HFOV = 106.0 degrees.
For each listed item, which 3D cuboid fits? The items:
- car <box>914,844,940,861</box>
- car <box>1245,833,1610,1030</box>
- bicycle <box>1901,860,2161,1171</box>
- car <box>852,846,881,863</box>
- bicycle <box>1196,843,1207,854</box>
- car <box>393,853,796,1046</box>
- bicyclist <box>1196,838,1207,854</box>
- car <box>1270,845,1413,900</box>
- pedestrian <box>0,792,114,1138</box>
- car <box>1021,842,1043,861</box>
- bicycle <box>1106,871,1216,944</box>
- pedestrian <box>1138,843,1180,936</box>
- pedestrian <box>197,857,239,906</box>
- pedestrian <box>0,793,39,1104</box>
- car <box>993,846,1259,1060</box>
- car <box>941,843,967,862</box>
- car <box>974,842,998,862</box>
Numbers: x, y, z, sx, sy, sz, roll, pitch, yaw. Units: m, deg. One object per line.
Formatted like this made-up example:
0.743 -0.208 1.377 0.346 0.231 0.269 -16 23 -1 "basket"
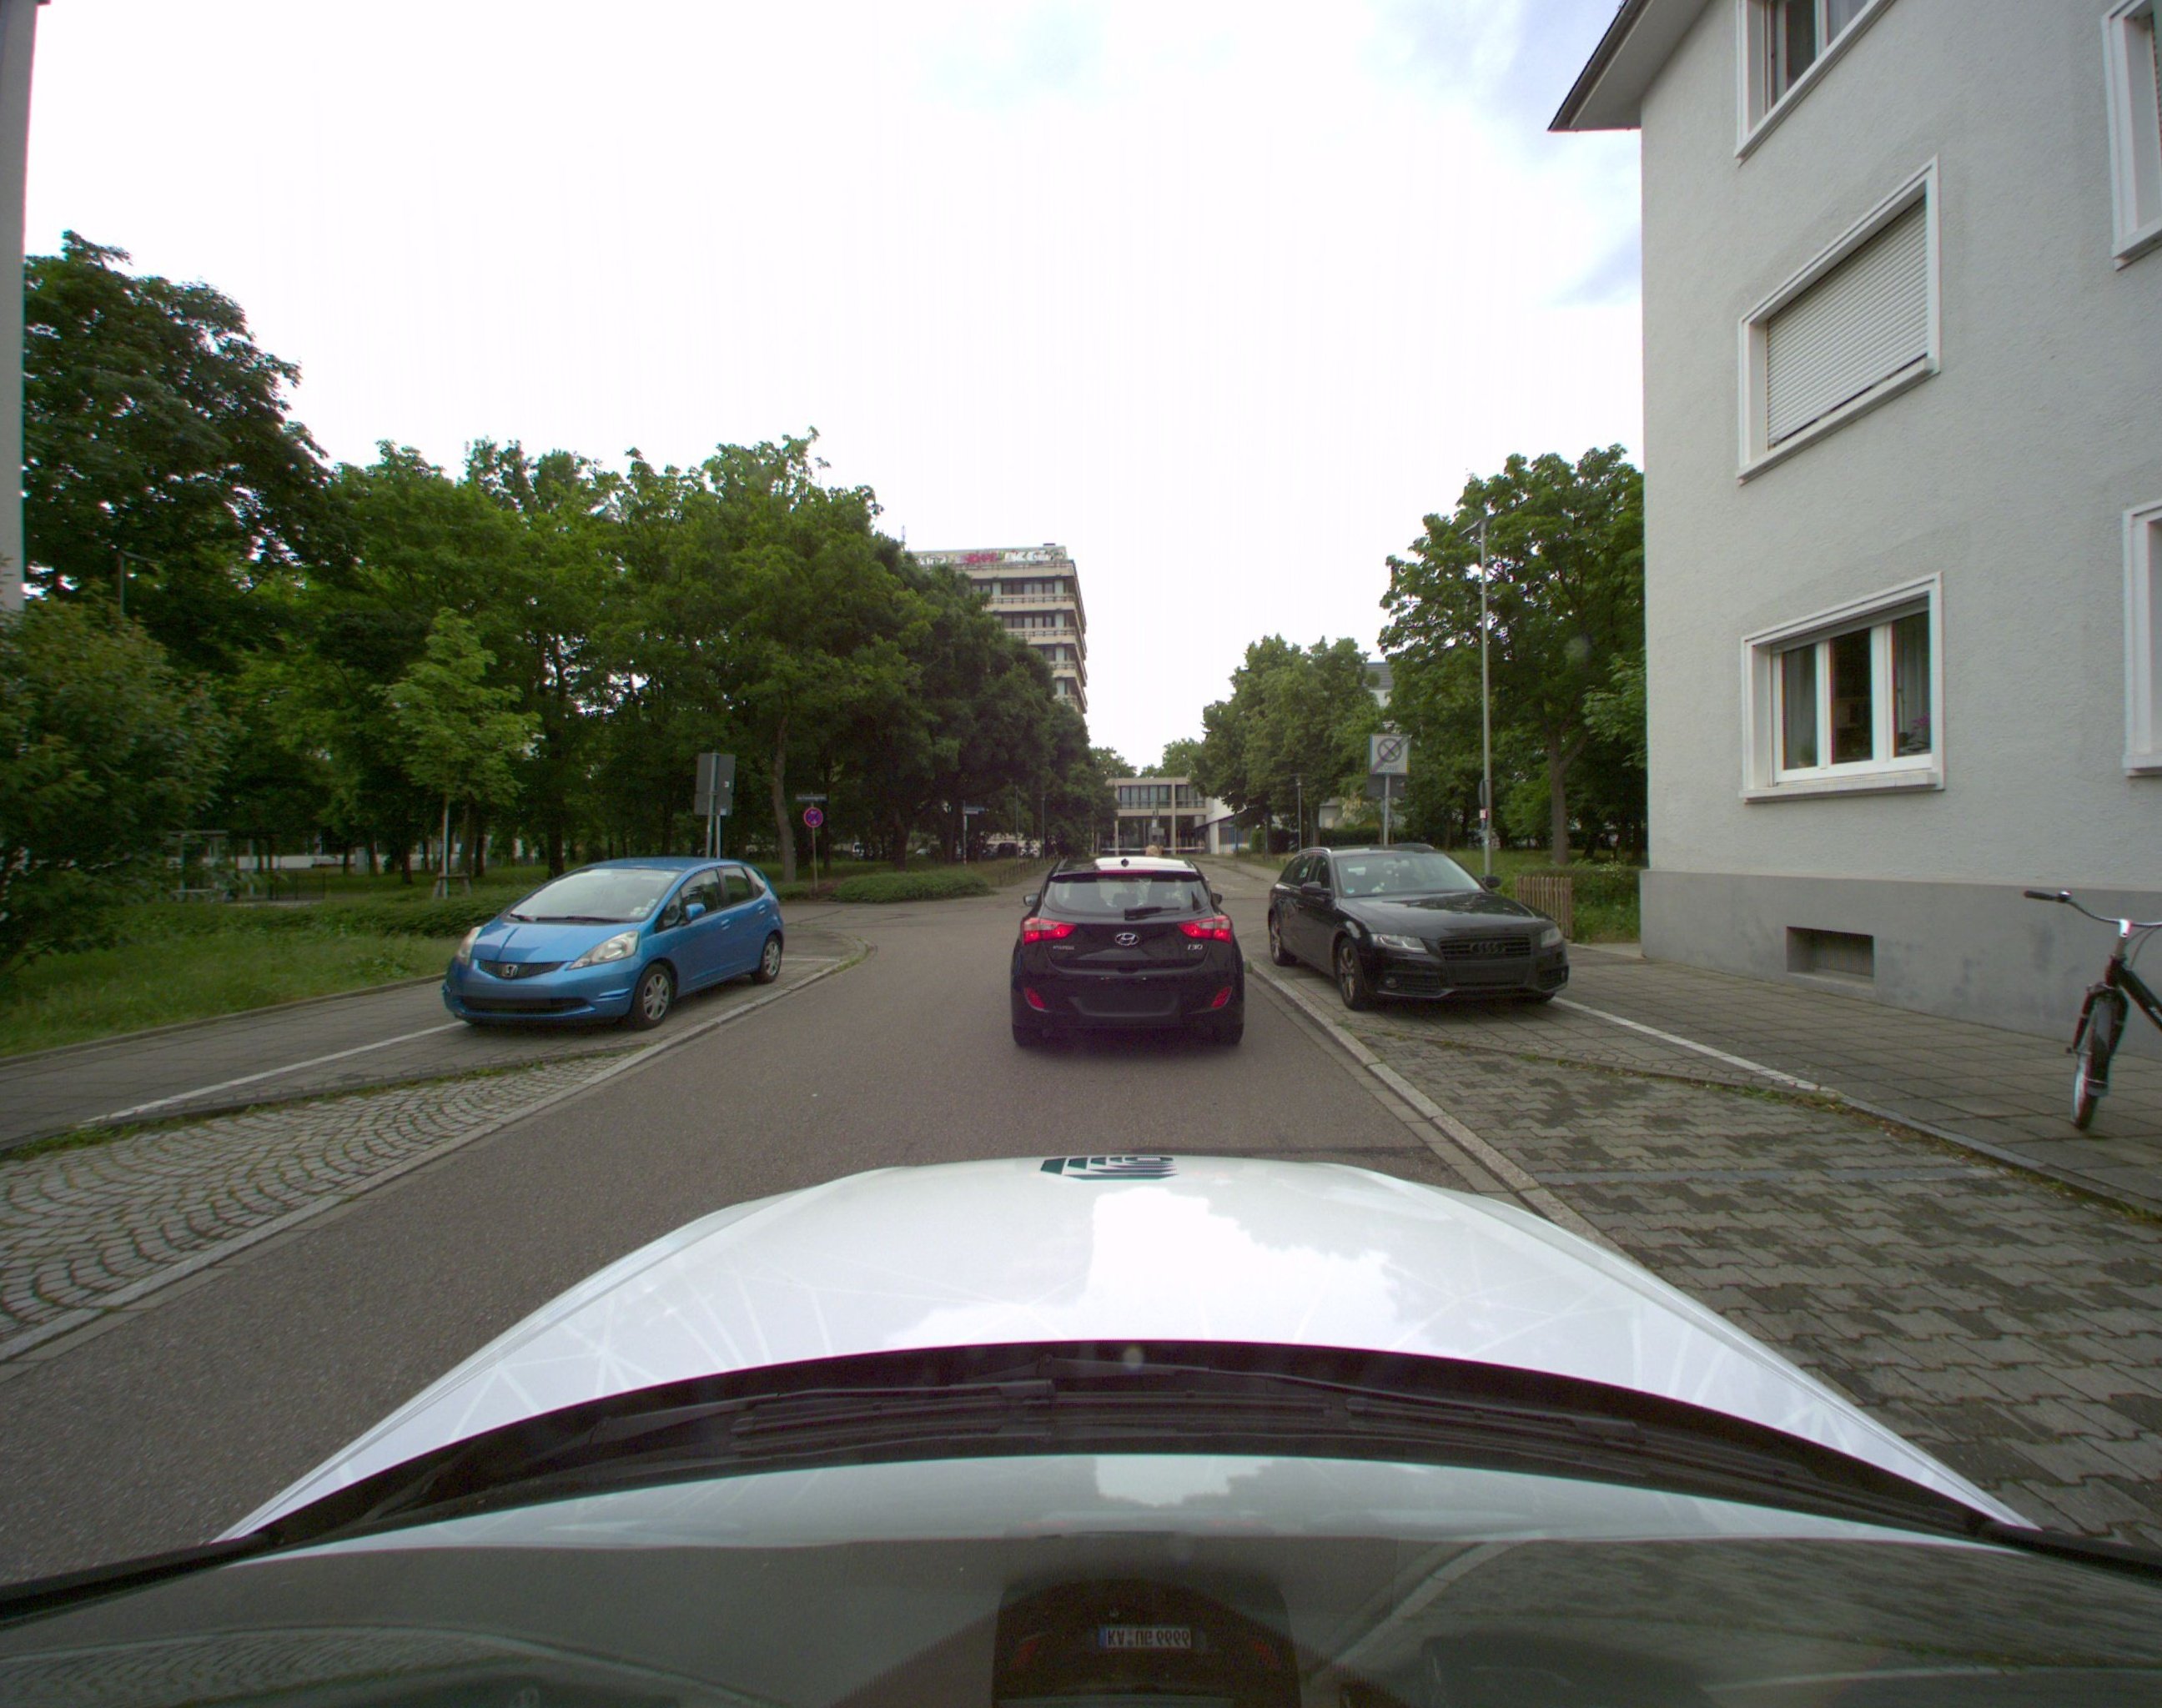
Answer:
-15.233 -0.126 80.743 1.988 1.618 3.997 -1 0 -2 "car"
3.161 0.574 8.664 1.854 1.462 4.725 -2 1 0 "car"
4.716 0.661 3.365 0.746 1.200 1.896 -3 1 2 "bicycle"
-21.391 0.037 81.444 1.912 1.618 3.997 -1 0 -2 "car"
12.270 -0.550 83.142 0.863 1.074 2.144 -1 1 3 "bicycle"
-4.597 0.765 8.516 1.724 1.462 3.958 1 1 1 "car"
12.282 -0.843 82.948 1.013 1.644 0.924 -1 1 3 "bicyclist"
7.246 0.496 22.862 3.521 1.437 1.567 -1 1 0 "car"
-6.122 0.593 4.384 0.638 1.863 0.974 1 0 1 "pedestrian"
-4.841 -0.238 80.774 1.988 1.762 3.997 -1 0 -2 "car"
1.398 0.923 14.311 1.810 1.119 0.537 -3 1 -7 "bicycle"
1.336 0.594 13.969 0.565 1.549 0.447 -3 1 -5 "pedestrian"
-29.114 0.919 27.481 0.693 1.583 0.656 -1 1 3 "pedestrian"
-6.795 0.569 4.634 0.704 1.854 0.763 -1 0 1 "pedestrian"
0.317 0.683 7.587 1.840 1.462 3.827 -1 0 0 "car"
-12.526 -0.158 80.599 1.988 1.728 3.997 -1 -1 -2 "car"
-9.420 -0.190 80.841 1.988 1.794 3.997 -1 -1 -2 "car"
